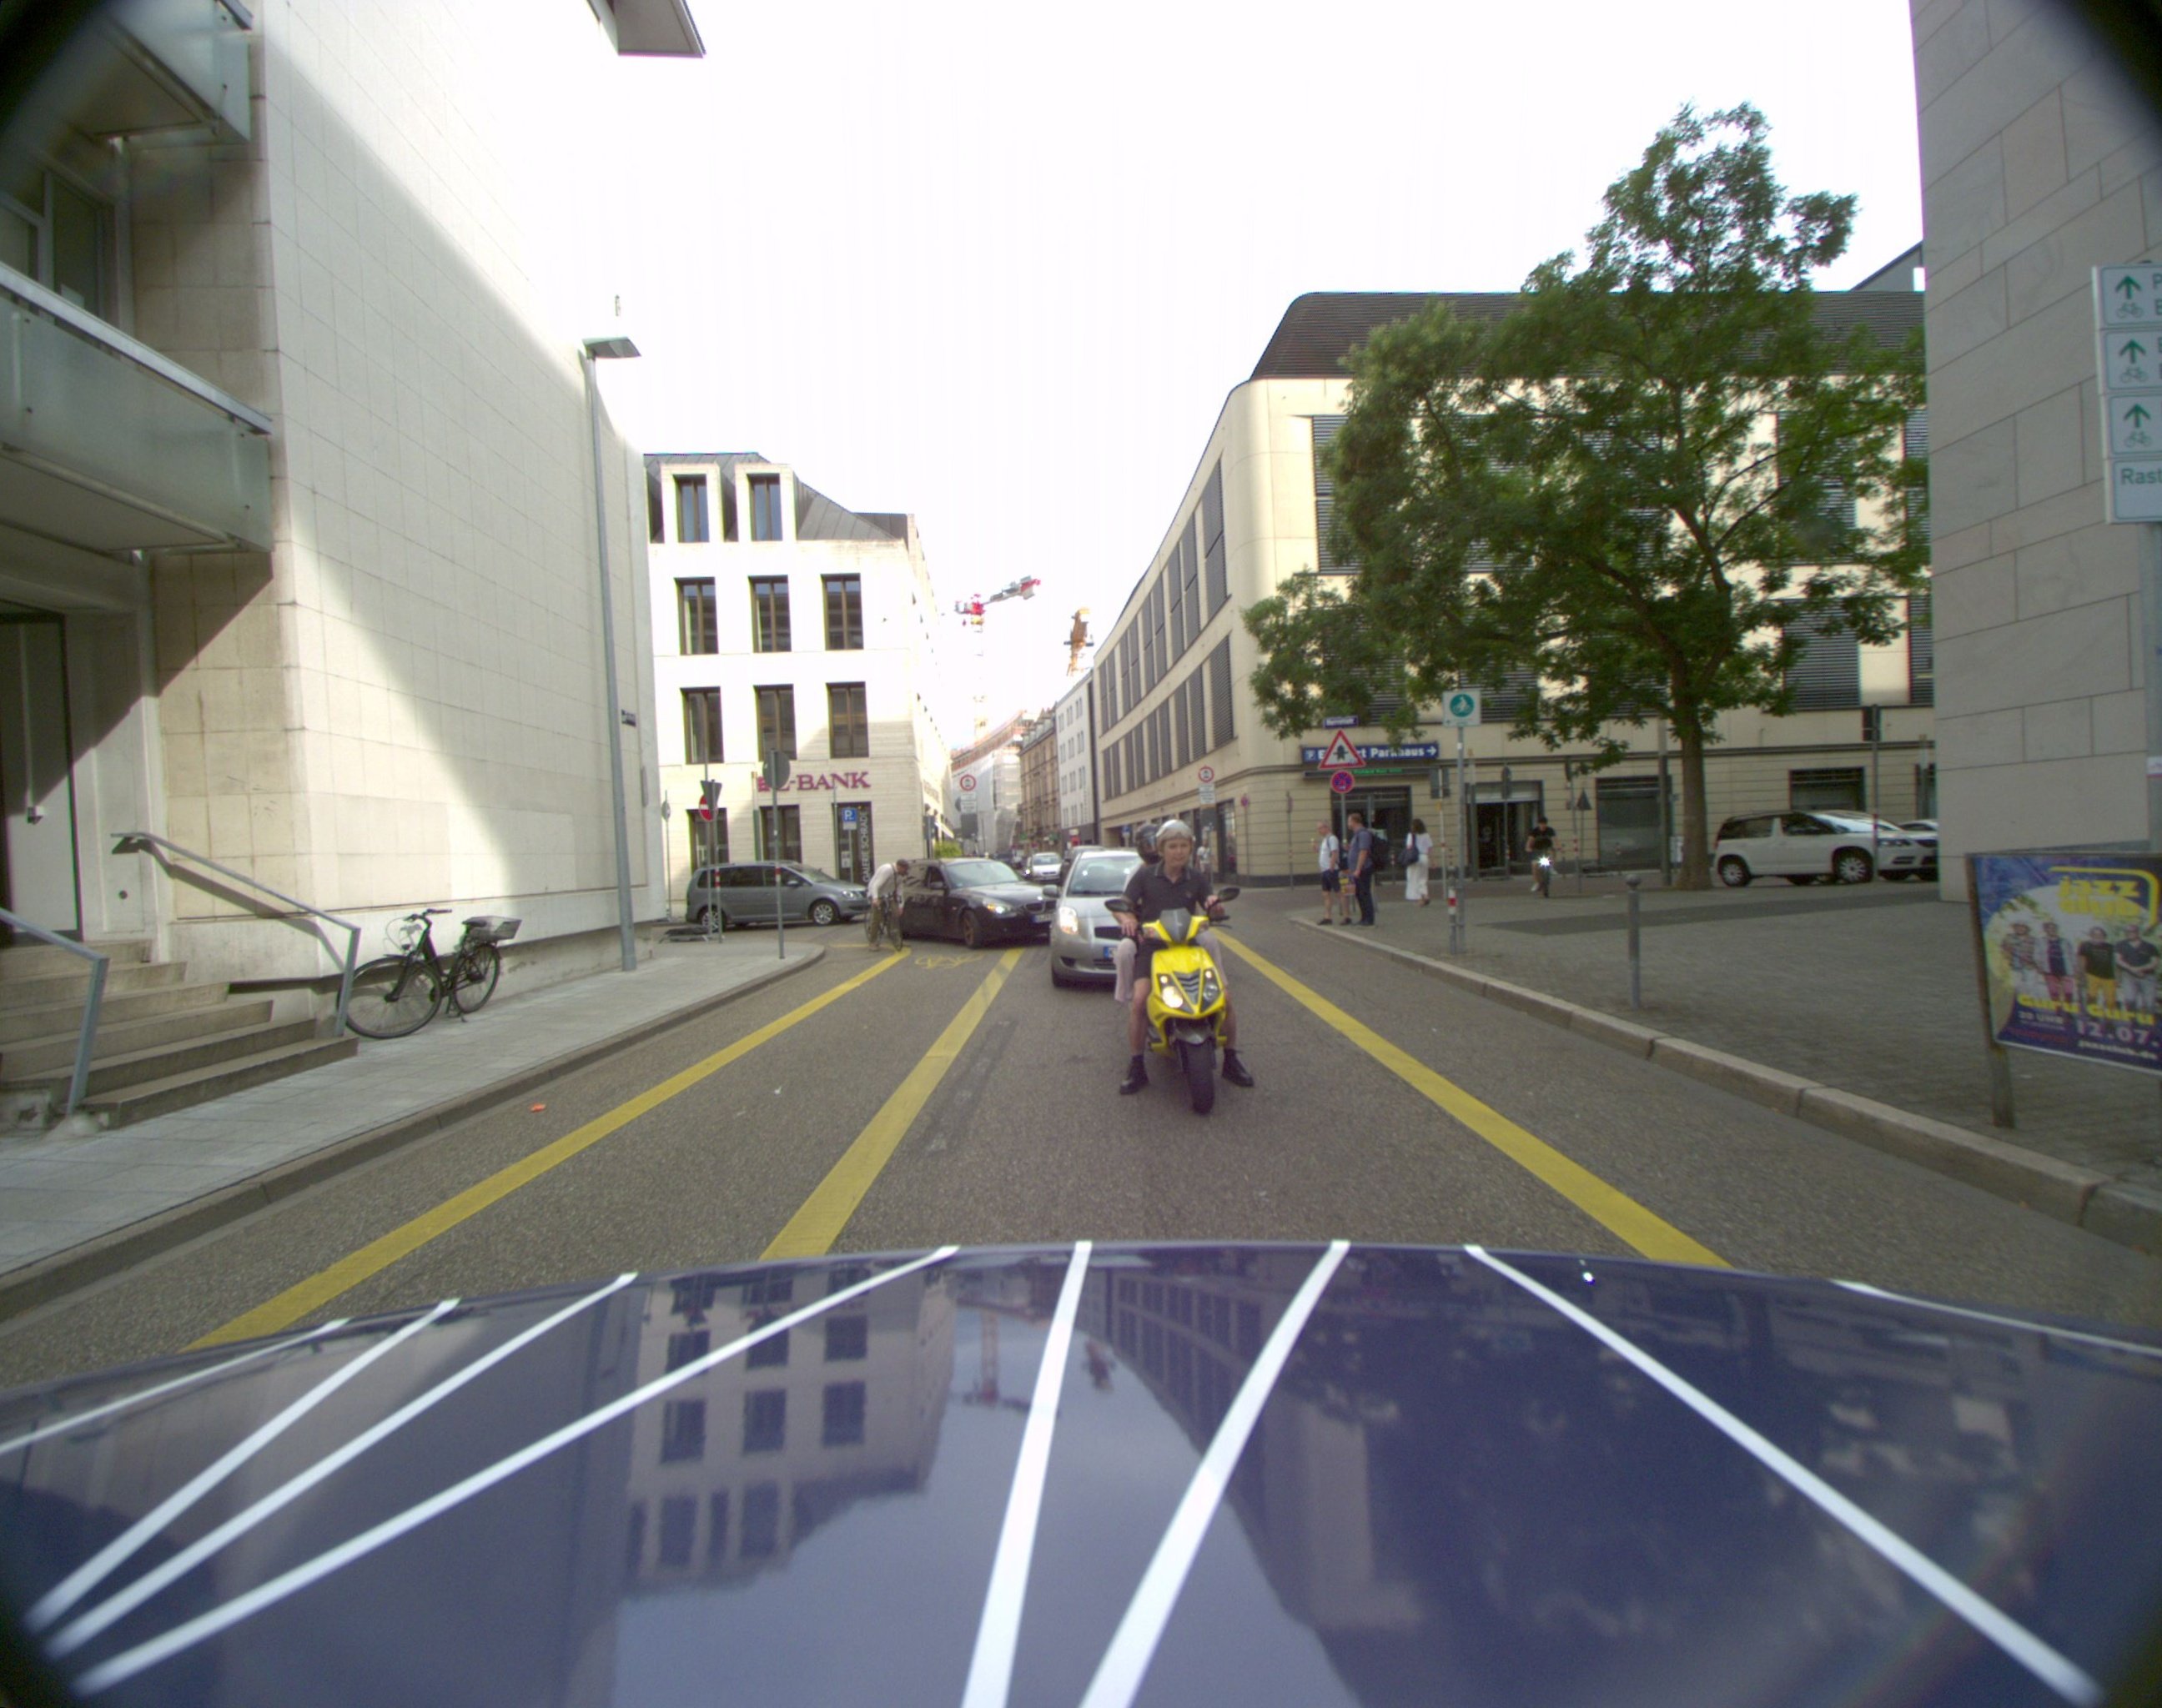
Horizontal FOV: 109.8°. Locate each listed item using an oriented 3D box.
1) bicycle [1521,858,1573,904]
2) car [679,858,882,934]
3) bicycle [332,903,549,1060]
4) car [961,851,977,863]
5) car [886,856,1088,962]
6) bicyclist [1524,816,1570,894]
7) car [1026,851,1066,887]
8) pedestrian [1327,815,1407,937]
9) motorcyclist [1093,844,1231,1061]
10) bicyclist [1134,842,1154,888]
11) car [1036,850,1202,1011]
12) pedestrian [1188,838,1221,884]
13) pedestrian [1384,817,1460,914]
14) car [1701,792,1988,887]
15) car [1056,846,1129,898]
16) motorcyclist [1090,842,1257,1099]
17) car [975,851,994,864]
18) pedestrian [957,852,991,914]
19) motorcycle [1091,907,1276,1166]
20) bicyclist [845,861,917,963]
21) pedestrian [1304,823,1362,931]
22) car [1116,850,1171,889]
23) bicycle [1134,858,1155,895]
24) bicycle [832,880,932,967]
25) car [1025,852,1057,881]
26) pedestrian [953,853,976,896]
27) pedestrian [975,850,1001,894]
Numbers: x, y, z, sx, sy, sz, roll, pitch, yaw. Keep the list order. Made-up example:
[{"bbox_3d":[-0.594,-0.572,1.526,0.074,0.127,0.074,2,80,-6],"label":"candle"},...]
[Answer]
[{"bbox_3d":[9.916,0.552,16.136,0.600,0.829,1.728,-7,-2,41],"label":"bicycle"},{"bbox_3d":[-7.282,0.996,18.746,4.193,1.581,1.814,-2,1,-2],"label":"car"},{"bbox_3d":[-6.039,1.134,7.322,0.590,1.161,1.814,-2,1,-4],"label":"bicycle"},{"bbox_3d":[-14.451,0.337,97.876,1.590,1.477,3.994,-3,1,-15],"label":"car"},{"bbox_3d":[-1.753,0.849,13.242,1.720,1.482,3.755,-4,1,-38],"label":"car"},{"bbox_3d":[9.977,0.019,16.268,0.621,1.610,0.645,-5,0,41],"label":"bicyclist"},{"bbox_3d":[-1.732,0.661,36.805,1.563,1.548,4.100,-3,1,-7],"label":"car"},{"bbox_3d":[4.523,0.332,12.042,0.745,1.804,0.756,-6,2,-11],"label":"pedestrian"},{"bbox_3d":[0.546,0.657,5.445,0.903,1.445,0.742,-1,1,1],"label":"motorcyclist"},{"bbox_3d":[2.250,0.380,27.184,0.644,1.644,0.939,0,1,1],"label":"bicyclist"},{"bbox_3d":[0.434,0.746,9.346,1.562,1.482,3.784,-3,1,2],"label":"car"},{"bbox_3d":[4.979,0.269,30.759,0.892,1.755,1.060,-6,1,-7],"label":"pedestrian"},{"bbox_3d":[6.431,0.198,14.386,0.879,1.699,0.910,-6,1,0],"label":"pedestrian"},{"bbox_3d":[15.865,-0.189,16.158,1.899,1.682,3.964,-2,-3,-3],"label":"car"},{"bbox_3d":[0.288,0.538,25.174,1.710,1.482,4.099,-3,1,-8],"label":"car"},{"bbox_3d":[0.533,0.658,4.816,0.924,1.445,1.065,-1,1,1],"label":"motorcyclist"},{"bbox_3d":[-11.167,0.375,87.534,1.590,1.477,3.994,-3,1,-15],"label":"car"},{"bbox_3d":[-3.265,0.872,23.155,0.774,1.820,0.860,-3,2,-20],"label":"pedestrian"},{"bbox_3d":[0.540,1.006,4.937,0.929,1.159,2.127,-1,0,1],"label":"motorcycle"},{"bbox_3d":[-3.366,0.939,12.768,0.894,1.585,0.875,-3,2,-30],"label":"bicyclist"},{"bbox_3d":[4.251,0.381,12.840,0.644,1.755,0.653,-3,1,-11],"label":"pedestrian"},{"bbox_3d":[2.729,0.648,34.089,1.563,1.548,4.100,-3,1,-7],"label":"car"},{"bbox_3d":[2.257,0.772,27.199,0.648,1.233,1.953,0,1,1],"label":"bicycle"},{"bbox_3d":[-3.466,1.105,12.979,0.872,1.188,2.857,-3,1,-30],"label":"bicycle"},{"bbox_3d":[-2.307,0.685,42.944,1.589,1.477,3.997,-2,1,-6],"label":"car"},{"bbox_3d":[-5.093,0.883,33.316,0.861,1.820,0.773,-2,1,-6],"label":"pedestrian"},{"bbox_3d":[-4.002,0.774,32.840,0.860,1.820,0.774,-2,1,7],"label":"pedestrian"}]
